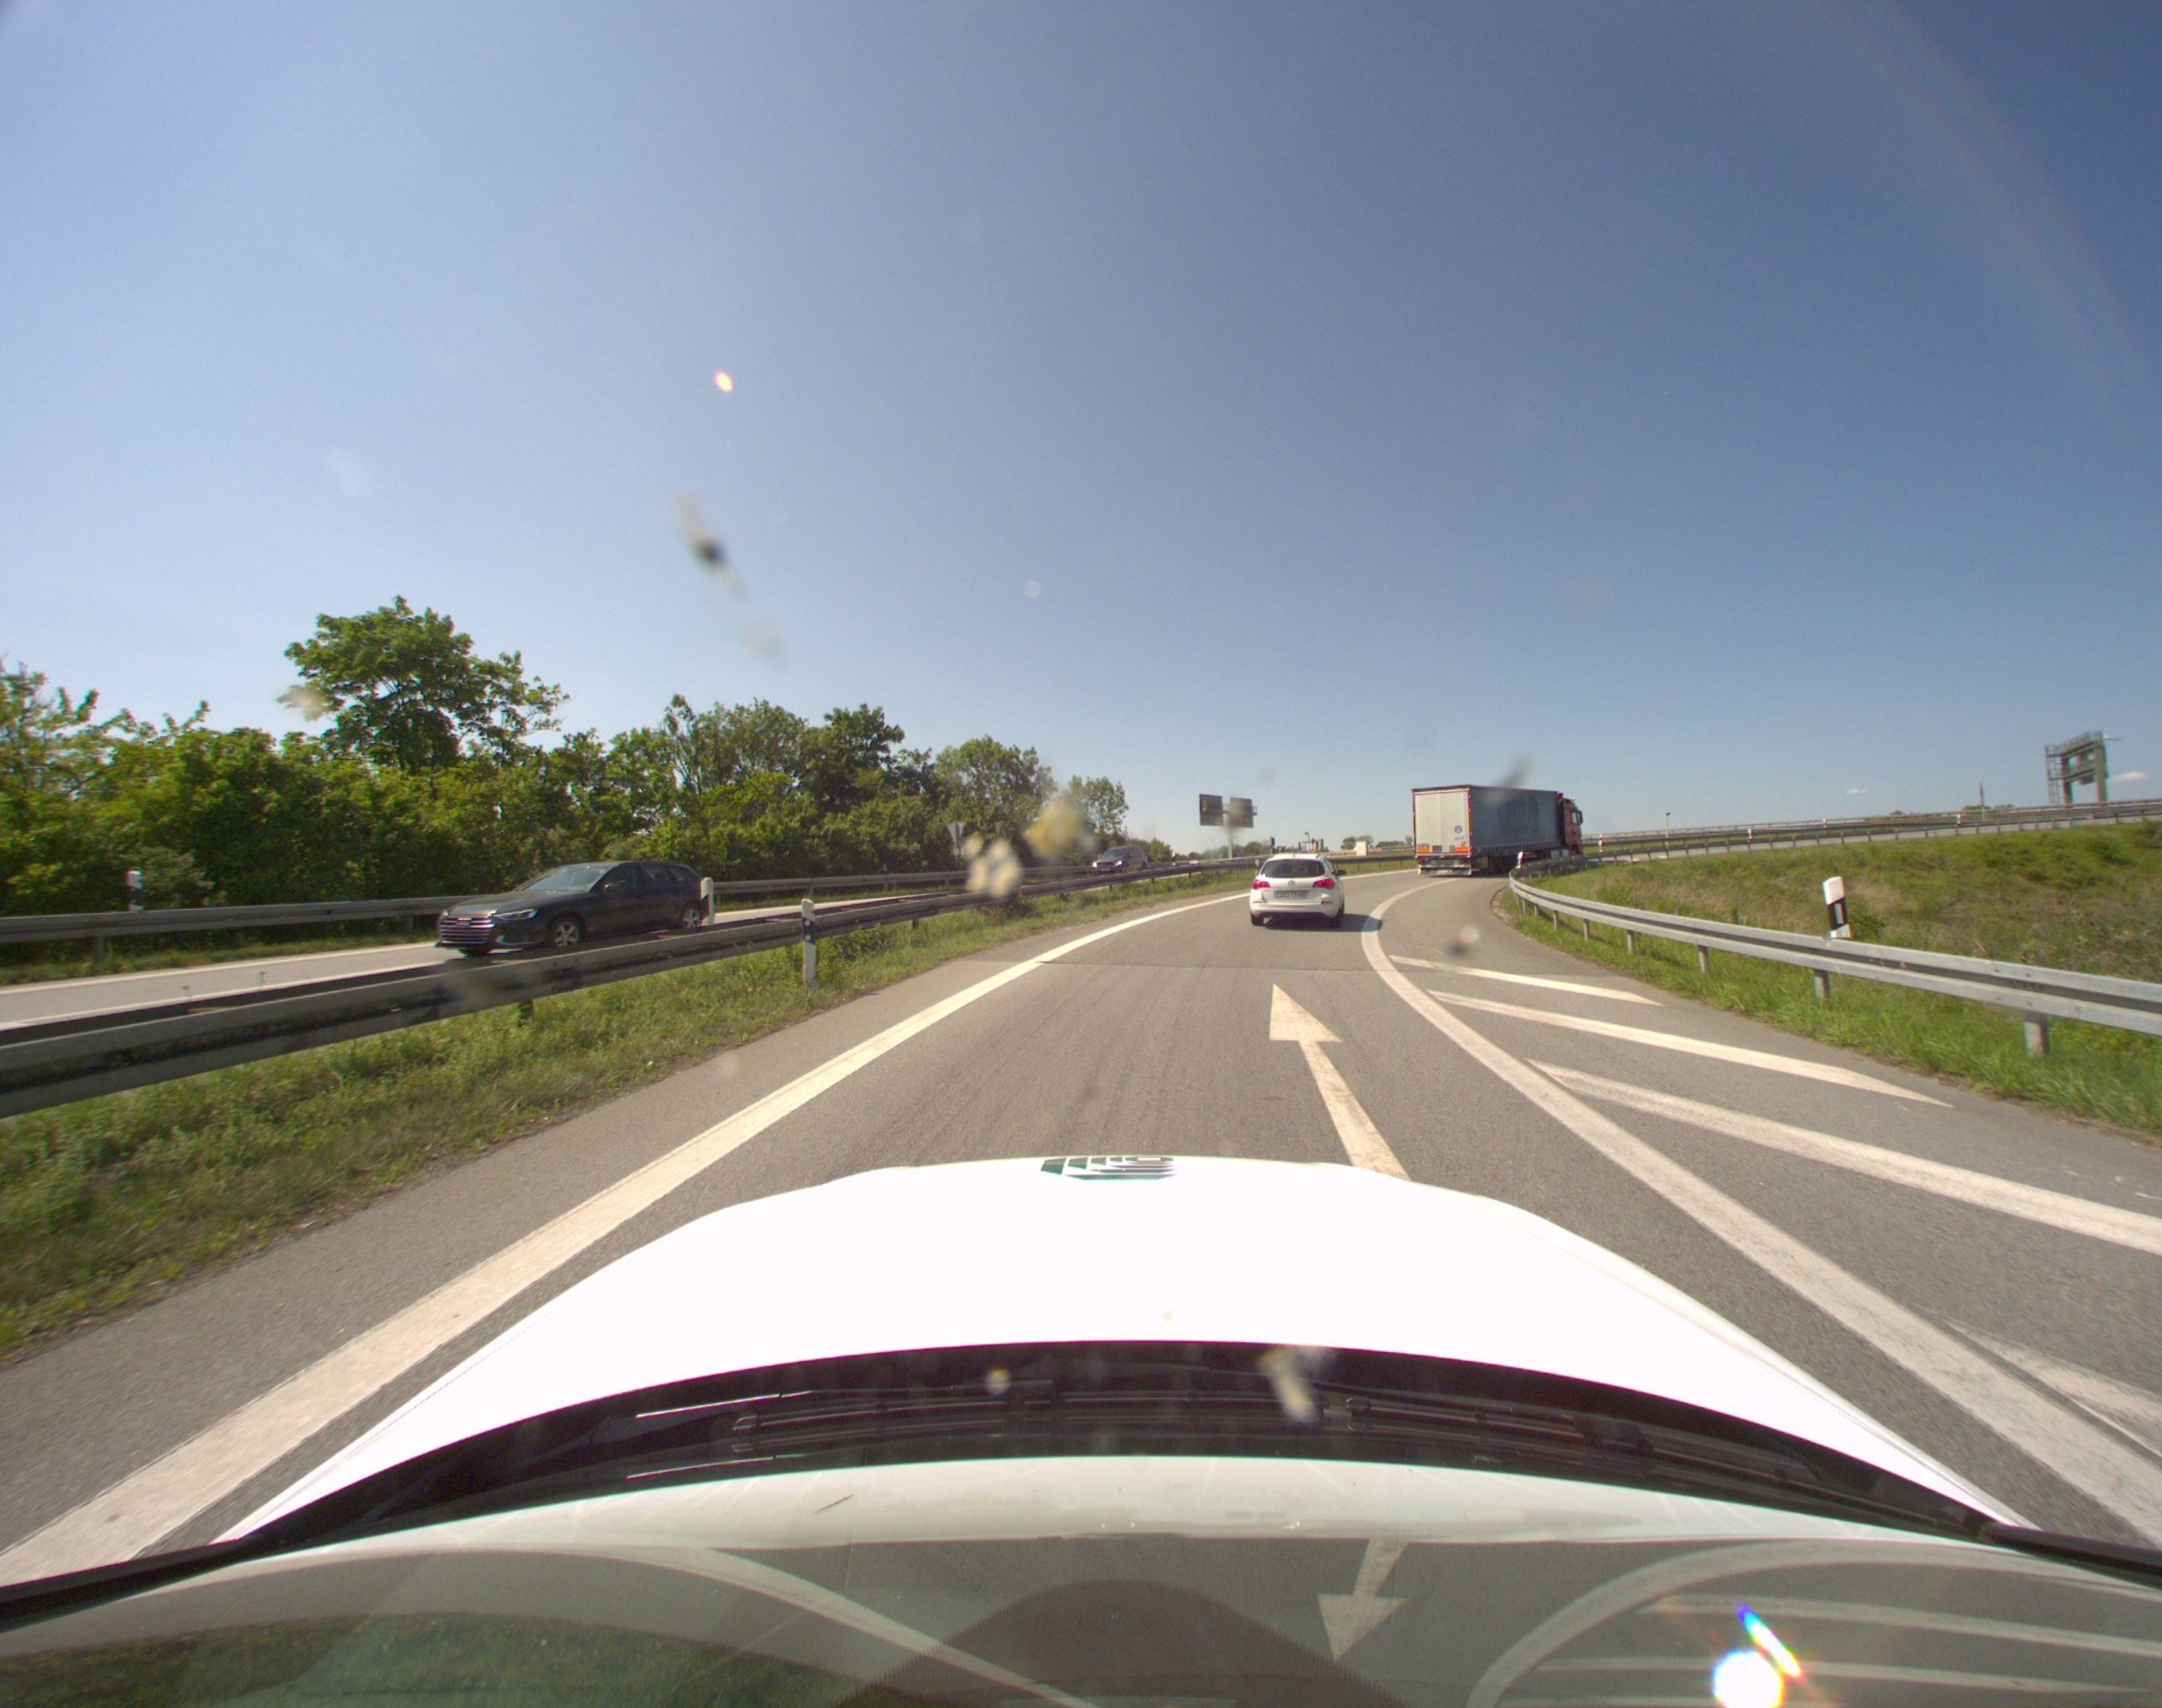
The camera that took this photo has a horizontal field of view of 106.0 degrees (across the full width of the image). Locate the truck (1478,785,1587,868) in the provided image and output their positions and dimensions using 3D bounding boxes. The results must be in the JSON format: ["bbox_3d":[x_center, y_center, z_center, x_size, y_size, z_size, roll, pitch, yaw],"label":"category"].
[{"bbox_3d":[24.888,-1.499,44.763,6.963,4.145,2.887,-2,0,-41],"label":"truck"}]

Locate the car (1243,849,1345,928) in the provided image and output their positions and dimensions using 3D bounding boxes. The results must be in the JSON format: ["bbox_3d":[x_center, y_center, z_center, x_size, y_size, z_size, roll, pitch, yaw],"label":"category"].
[{"bbox_3d":[4.749,0.659,17.697,1.839,1.443,4.392,-1,0,18],"label":"car"}]

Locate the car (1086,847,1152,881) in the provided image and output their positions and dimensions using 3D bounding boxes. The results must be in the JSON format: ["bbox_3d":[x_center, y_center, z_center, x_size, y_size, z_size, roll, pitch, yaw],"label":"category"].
[{"bbox_3d":[2.161,0.479,44.216,1.976,1.731,5.225,-1,0,22],"label":"car"}]

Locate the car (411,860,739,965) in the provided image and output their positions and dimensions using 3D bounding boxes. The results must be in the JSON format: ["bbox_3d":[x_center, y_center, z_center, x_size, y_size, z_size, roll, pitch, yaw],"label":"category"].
[{"bbox_3d":[-8.236,0.837,13.904,1.779,1.448,4.723,0,0,17],"label":"car"}]

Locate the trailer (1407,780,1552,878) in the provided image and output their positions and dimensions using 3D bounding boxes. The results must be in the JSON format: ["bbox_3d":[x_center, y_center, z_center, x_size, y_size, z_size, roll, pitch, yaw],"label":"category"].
[{"bbox_3d":[19.808,-1.216,39.952,2.885,4.145,11.325,-3,0,44],"label":"trailer"}]
